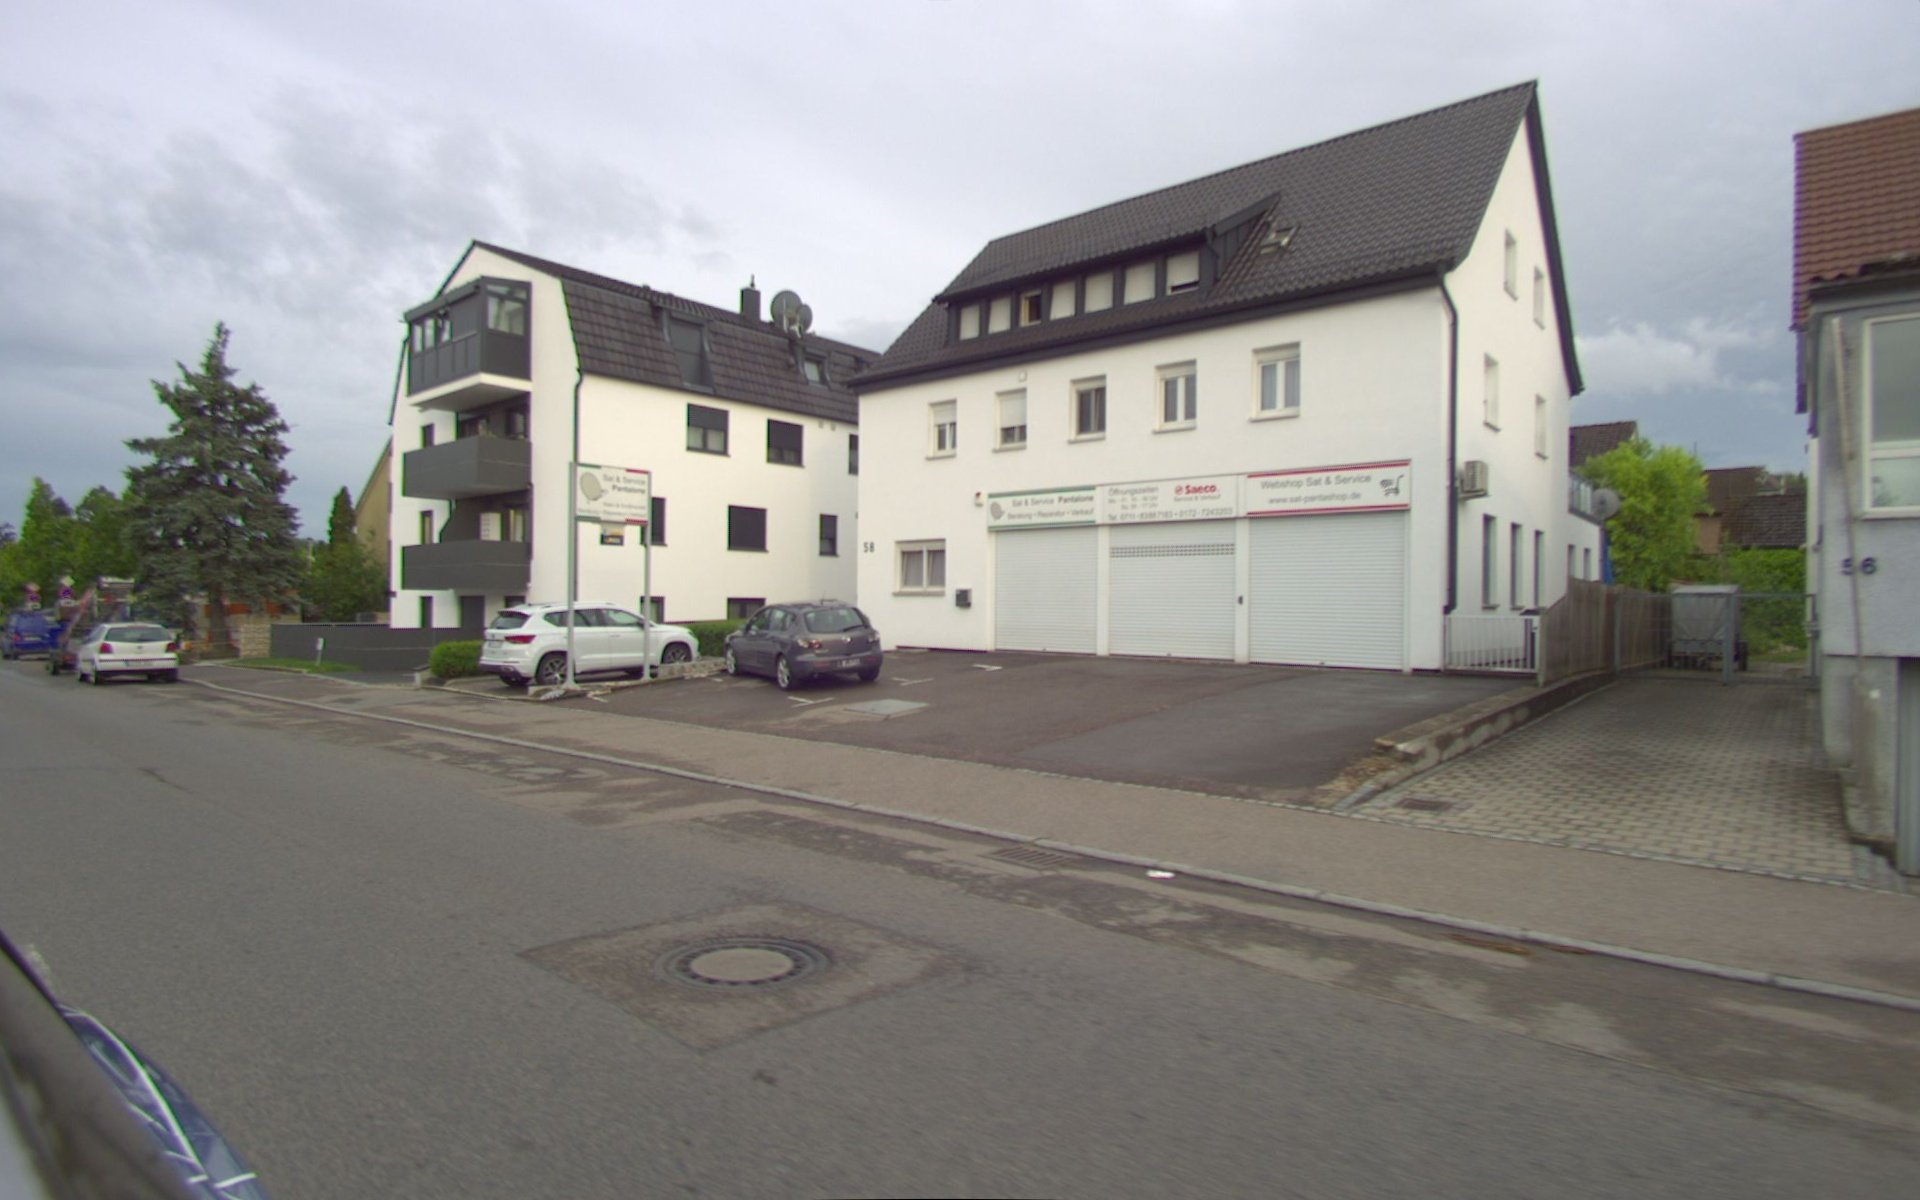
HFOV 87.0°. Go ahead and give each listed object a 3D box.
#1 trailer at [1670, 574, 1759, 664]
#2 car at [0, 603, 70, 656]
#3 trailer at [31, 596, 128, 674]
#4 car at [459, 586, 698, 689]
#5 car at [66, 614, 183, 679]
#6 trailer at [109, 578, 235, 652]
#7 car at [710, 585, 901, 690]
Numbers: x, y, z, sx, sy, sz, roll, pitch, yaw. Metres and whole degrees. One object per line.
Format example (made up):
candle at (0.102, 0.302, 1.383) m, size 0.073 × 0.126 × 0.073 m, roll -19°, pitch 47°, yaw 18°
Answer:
trailer at (17.784, 0.419, 23.812) m, size 1.345 × 1.954 × 3.255 m, roll -1°, pitch 0°, yaw 43°
car at (-39.021, 1.230, 42.520) m, size 4.754 × 2.140 × 1.972 m, roll -1°, pitch -2°, yaw 43°
trailer at (-26.084, 0.980, 29.928) m, size 4.006 × 2.143 × 1.699 m, roll -1°, pitch 0°, yaw 42°
car at (-7.529, 0.666, 20.247) m, size 1.998 × 1.659 × 3.948 m, roll -1°, pitch 2°, yaw 40°
car at (-21.069, 1.125, 25.464) m, size 3.870 × 1.516 × 1.717 m, roll -1°, pitch -2°, yaw 42°
trailer at (-34.201, 0.632, 43.981) m, size 2.168 × 3.069 × 4.005 m, roll -1°, pitch 0°, yaw 43°
car at (-2.896, 0.574, 18.282) m, size 1.795 × 1.541 × 4.011 m, roll -6°, pitch 4°, yaw -33°
